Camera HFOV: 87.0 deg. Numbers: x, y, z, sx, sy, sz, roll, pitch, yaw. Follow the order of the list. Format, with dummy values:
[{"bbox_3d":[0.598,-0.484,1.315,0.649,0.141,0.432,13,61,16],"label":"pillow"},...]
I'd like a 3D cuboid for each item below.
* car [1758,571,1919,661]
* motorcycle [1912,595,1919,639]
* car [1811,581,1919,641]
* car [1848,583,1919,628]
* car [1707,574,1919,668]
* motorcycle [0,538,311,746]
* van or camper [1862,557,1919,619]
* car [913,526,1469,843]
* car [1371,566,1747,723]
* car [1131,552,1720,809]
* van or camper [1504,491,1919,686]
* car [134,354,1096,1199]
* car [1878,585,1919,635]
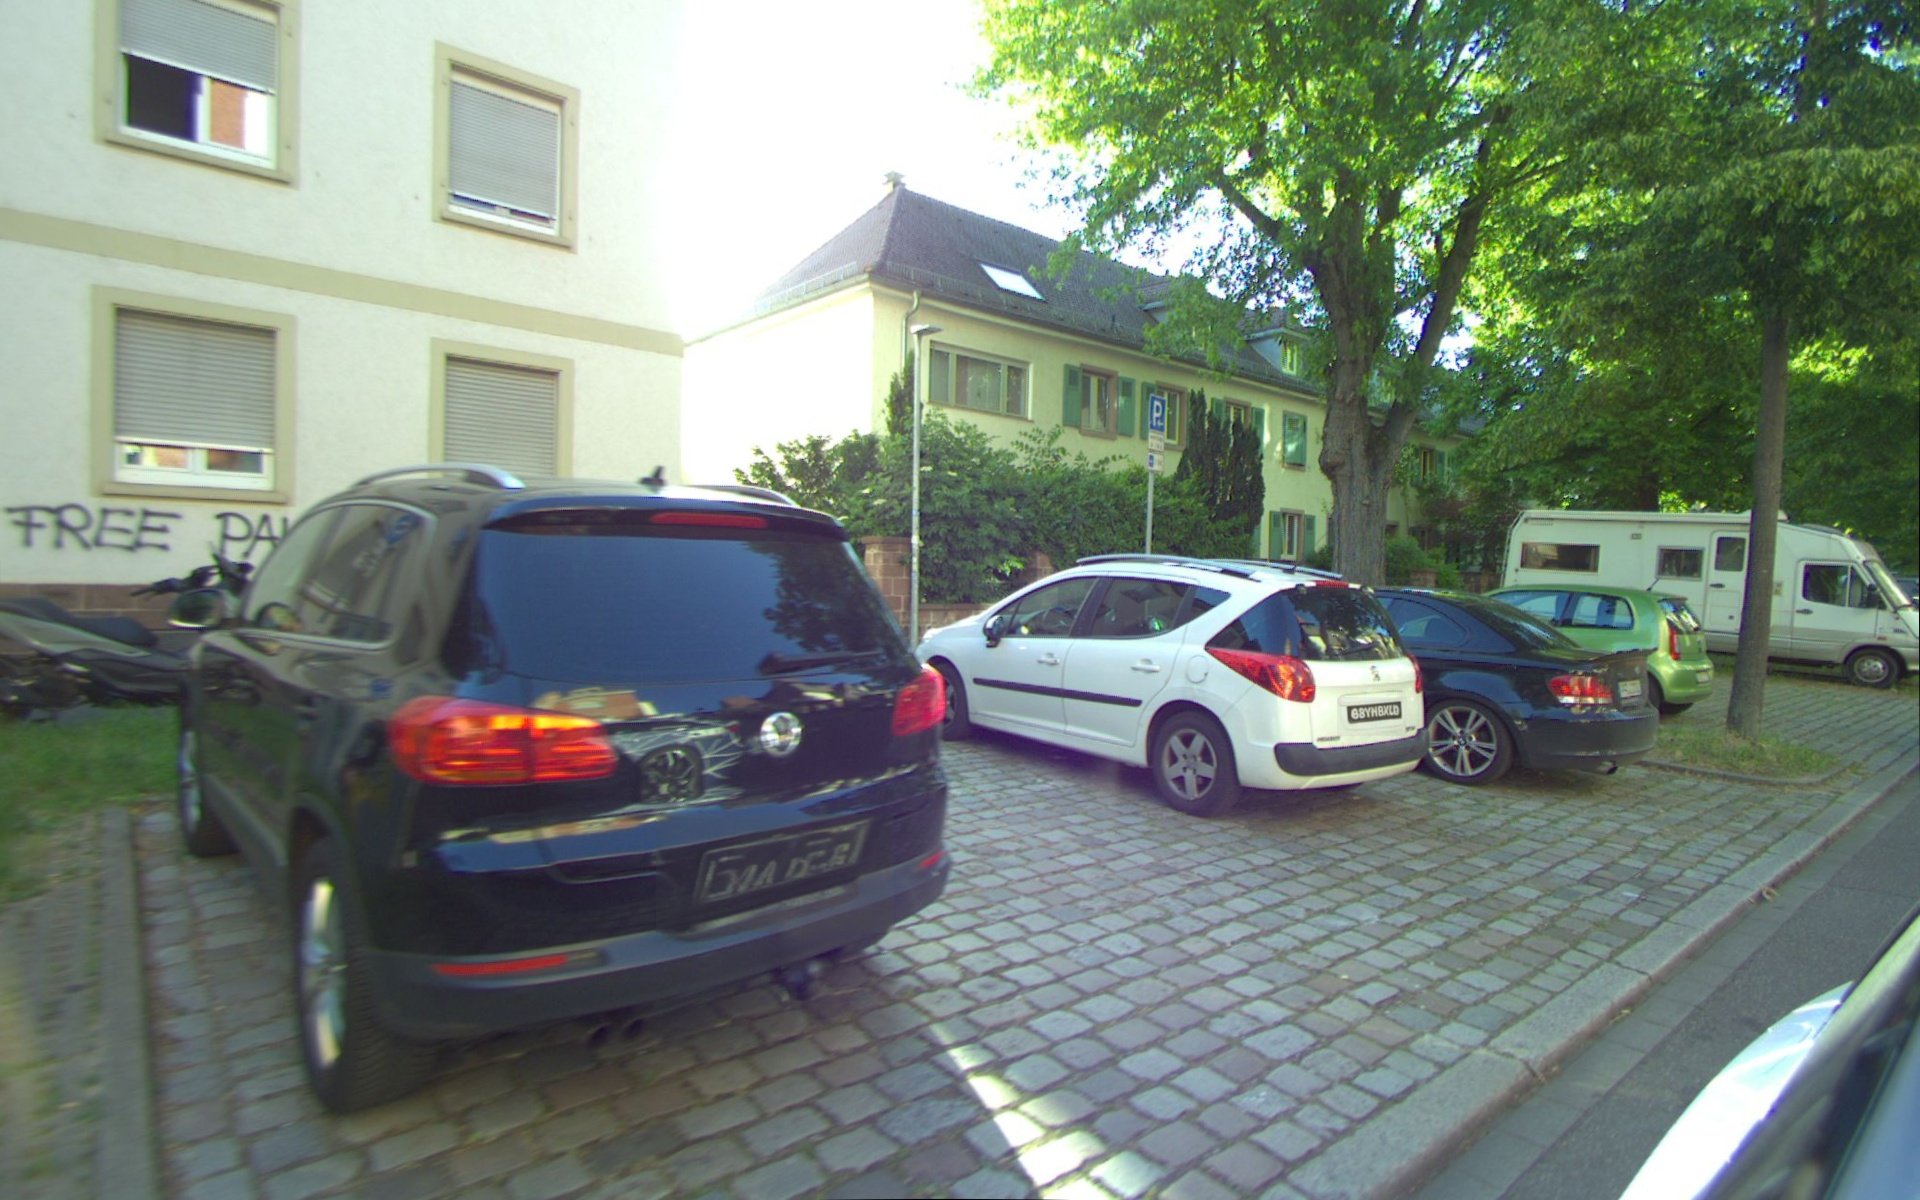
[{"bbox_3d":[20.803,0.356,22.924,1.699,1.765,3.925,-1,5,-40],"label":"car"},{"bbox_3d":[26.958,0.507,27.396,0.725,1.212,1.774,2,2,5],"label":"motorcycle"},{"bbox_3d":[28.477,0.359,30.260,1.895,1.627,4.342,-1,4,-41],"label":"car"},{"bbox_3d":[34.965,0.286,36.234,1.721,1.495,4.471,0,4,-39],"label":"car"},{"bbox_3d":[18.826,0.389,21.779,1.868,1.617,3.976,-1,5,-37],"label":"car"},{"bbox_3d":[-5.924,0.237,7.079,0.974,1.296,2.150,3,2,41],"label":"motorcycle"},{"bbox_3d":[47.888,-0.522,48.052,2.385,2.939,7.264,-1,3,-40],"label":"van or camper"},{"bbox_3d":[1.395,0.372,7.315,1.672,1.671,3.705,0,2,-36],"label":"car"},{"bbox_3d":[7.232,0.431,12.487,1.647,1.524,3.599,1,3,-39],"label":"car"},{"bbox_3d":[3.631,0.440,8.565,1.760,1.428,4.116,0,5,-40],"label":"car"},{"bbox_3d":[14.515,-0.304,19.050,2.423,3.115,7.087,0,2,-42],"label":"van or camper"},{"bbox_3d":[-1.737,0.313,3.992,1.991,1.733,4.110,1,3,-44],"label":"car"},{"bbox_3d":[31.021,0.391,31.447,1.664,1.493,3.456,0,4,-40],"label":"car"}]
